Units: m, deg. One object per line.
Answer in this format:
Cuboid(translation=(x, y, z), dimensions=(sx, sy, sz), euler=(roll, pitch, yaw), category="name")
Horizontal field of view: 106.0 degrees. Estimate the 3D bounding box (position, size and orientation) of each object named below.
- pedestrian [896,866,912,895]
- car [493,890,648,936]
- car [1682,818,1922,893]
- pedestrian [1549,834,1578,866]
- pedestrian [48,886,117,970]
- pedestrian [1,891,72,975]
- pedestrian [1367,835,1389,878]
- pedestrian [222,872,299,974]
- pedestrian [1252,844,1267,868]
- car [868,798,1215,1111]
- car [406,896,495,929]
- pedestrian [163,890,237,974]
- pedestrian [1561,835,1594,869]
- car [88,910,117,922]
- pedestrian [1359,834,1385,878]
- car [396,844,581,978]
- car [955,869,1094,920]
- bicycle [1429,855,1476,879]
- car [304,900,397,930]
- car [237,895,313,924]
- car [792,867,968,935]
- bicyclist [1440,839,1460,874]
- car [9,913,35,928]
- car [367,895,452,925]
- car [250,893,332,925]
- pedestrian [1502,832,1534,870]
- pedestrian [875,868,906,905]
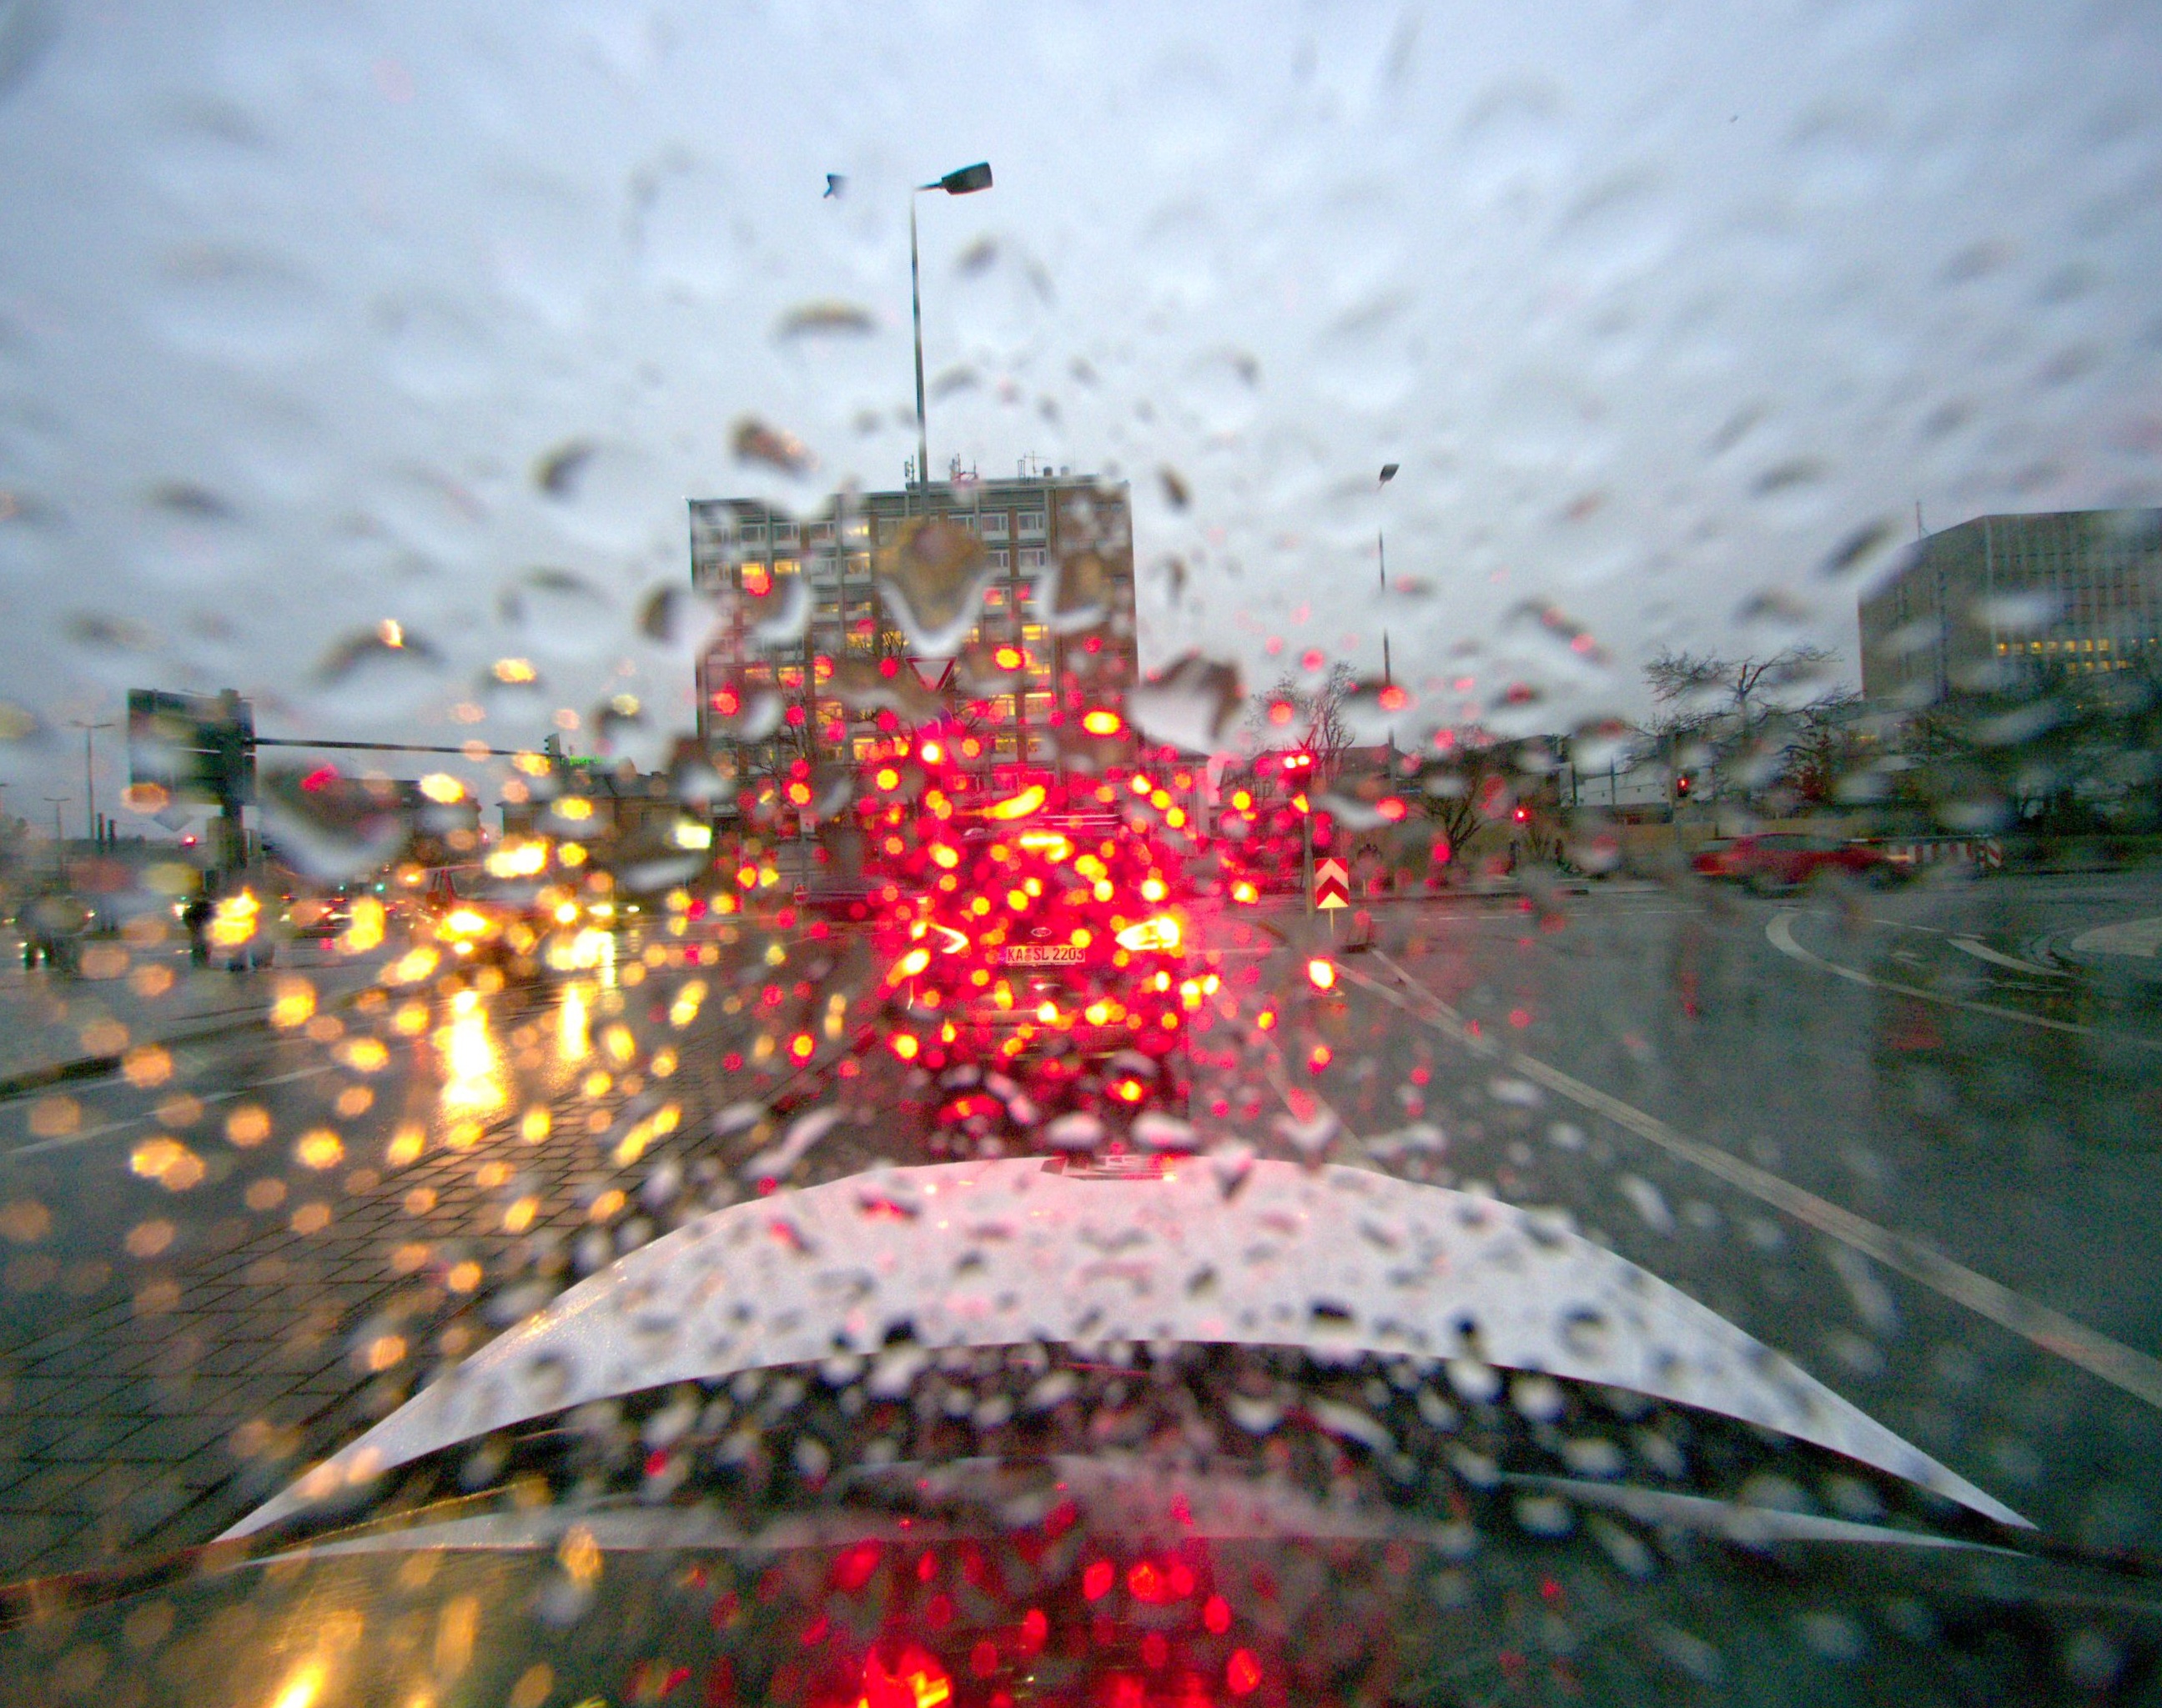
Cuboid(translation=(-10.604, 1.585, 48.731), dimensions=(0.634, 1.688, 0.640), euler=(-3, 0, 18), category="pedestrian")
Cuboid(translation=(-17.772, 2.055, 28.392), dimensions=(4.647, 1.302, 1.947), euler=(-3, -1, 16), category="car")
Cuboid(translation=(17.868, 0.057, 20.400), dimensions=(4.099, 1.582, 1.846), euler=(-3, -1, 9), category="car")
Cuboid(translation=(24.059, -0.178, 40.604), dimensions=(0.889, 1.533, 0.886), euler=(-3, 0, 2), category="pedestrian")
Cuboid(translation=(-23.003, 1.692, 18.767), dimensions=(0.669, 1.838, 0.738), euler=(-3, 0, 16), category="pedestrian")
Cuboid(translation=(-23.158, 1.740, 18.066), dimensions=(0.542, 1.770, 0.746), euler=(-3, 0, 15), category="pedestrian")
Cuboid(translation=(15.175, 0.126, 41.624), dimensions=(0.887, 2.113, 0.889), euler=(-3, 0, 13), category="pedestrian")
Cuboid(translation=(-17.327, 1.426, 17.227), dimensions=(0.996, 2.021, 0.792), euler=(-3, 0, -39), category="pedestrian")
Cuboid(translation=(12.526, 0.134, 57.181), dimensions=(0.712, 1.628, 0.767), euler=(-3, 0, 34), category="pedestrian")
Cuboid(translation=(-0.168, 0.593, 6.689), dimensions=(1.986, 1.789, 4.001), euler=(0, -1, 2), category="car")
Cuboid(translation=(-33.331, 3.061, 43.080), dimensions=(3.954, 1.568, 1.836), euler=(-1, -1, 20), category="car")
Cuboid(translation=(-19.546, 1.710, 18.077), dimensions=(0.653, 1.755, 0.856), euler=(-3, 0, 18), category="pedestrian")
Cuboid(translation=(24.095, -0.099, 39.554), dimensions=(0.921, 1.533, 1.043), euler=(-3, 0, 2), category="pedestrian")
Cuboid(translation=(-137.922, 8.744, 114.858), dimensions=(1.747, 1.509, 3.954), euler=(-3, 0, -38), category="car")
Cuboid(translation=(14.542, 0.086, 40.725), dimensions=(0.890, 2.113, 0.886), euler=(-3, 0, 2), category="pedestrian")
Cuboid(translation=(-11.227, 1.002, 15.294), dimensions=(4.585, 2.070, 1.942), euler=(-4, 0, 44), category="car")
Cuboid(translation=(-1.647, 1.197, 24.276), dimensions=(3.728, 1.302, 1.707), euler=(-3, -1, 13), category="car")
Cuboid(translation=(17.724, 0.633, 38.905), dimensions=(1.872, 1.048, 0.661), euler=(-3, 0, 9), category="bicycle")
Cuboid(translation=(-43.822, 3.628, 48.922), dimensions=(1.582, 1.482, 3.840), euler=(-1, -1, 31), category="car")
Cuboid(translation=(-53.096, 3.621, 53.669), dimensions=(1.505, 1.702, 3.411), euler=(-1, -1, 39), category="car")
Cuboid(translation=(-5.350, 1.247, 21.843), dimensions=(4.094, 1.582, 1.848), euler=(-3, -1, 13), category="car")
Cuboid(translation=(17.629, 0.108, 38.914), dimensions=(0.680, 1.599, 0.661), euler=(-3, 0, 9), category="bicyclist")
Cuboid(translation=(-126.462, 7.950, 97.233), dimensions=(3.948, 1.509, 1.750), euler=(-3, 0, 39), category="car")
Cuboid(translation=(-38.405, 3.181, 46.623), dimensions=(1.496, 1.461, 3.453), euler=(-1, -1, 31), category="car")
Cuboid(translation=(-51.160, 3.537, 52.776), dimensions=(1.649, 1.826, 3.609), euler=(-1, -1, 39), category="car")
Cuboid(translation=(21.791, -0.149, 40.618), dimensions=(0.992, 1.799, 0.920), euler=(-3, 0, 2), category="pedestrian")
Cuboid(translation=(-10.101, 1.723, 43.194), dimensions=(0.992, 1.842, 1.146), euler=(-3, 2, 25), category="pedestrian")
